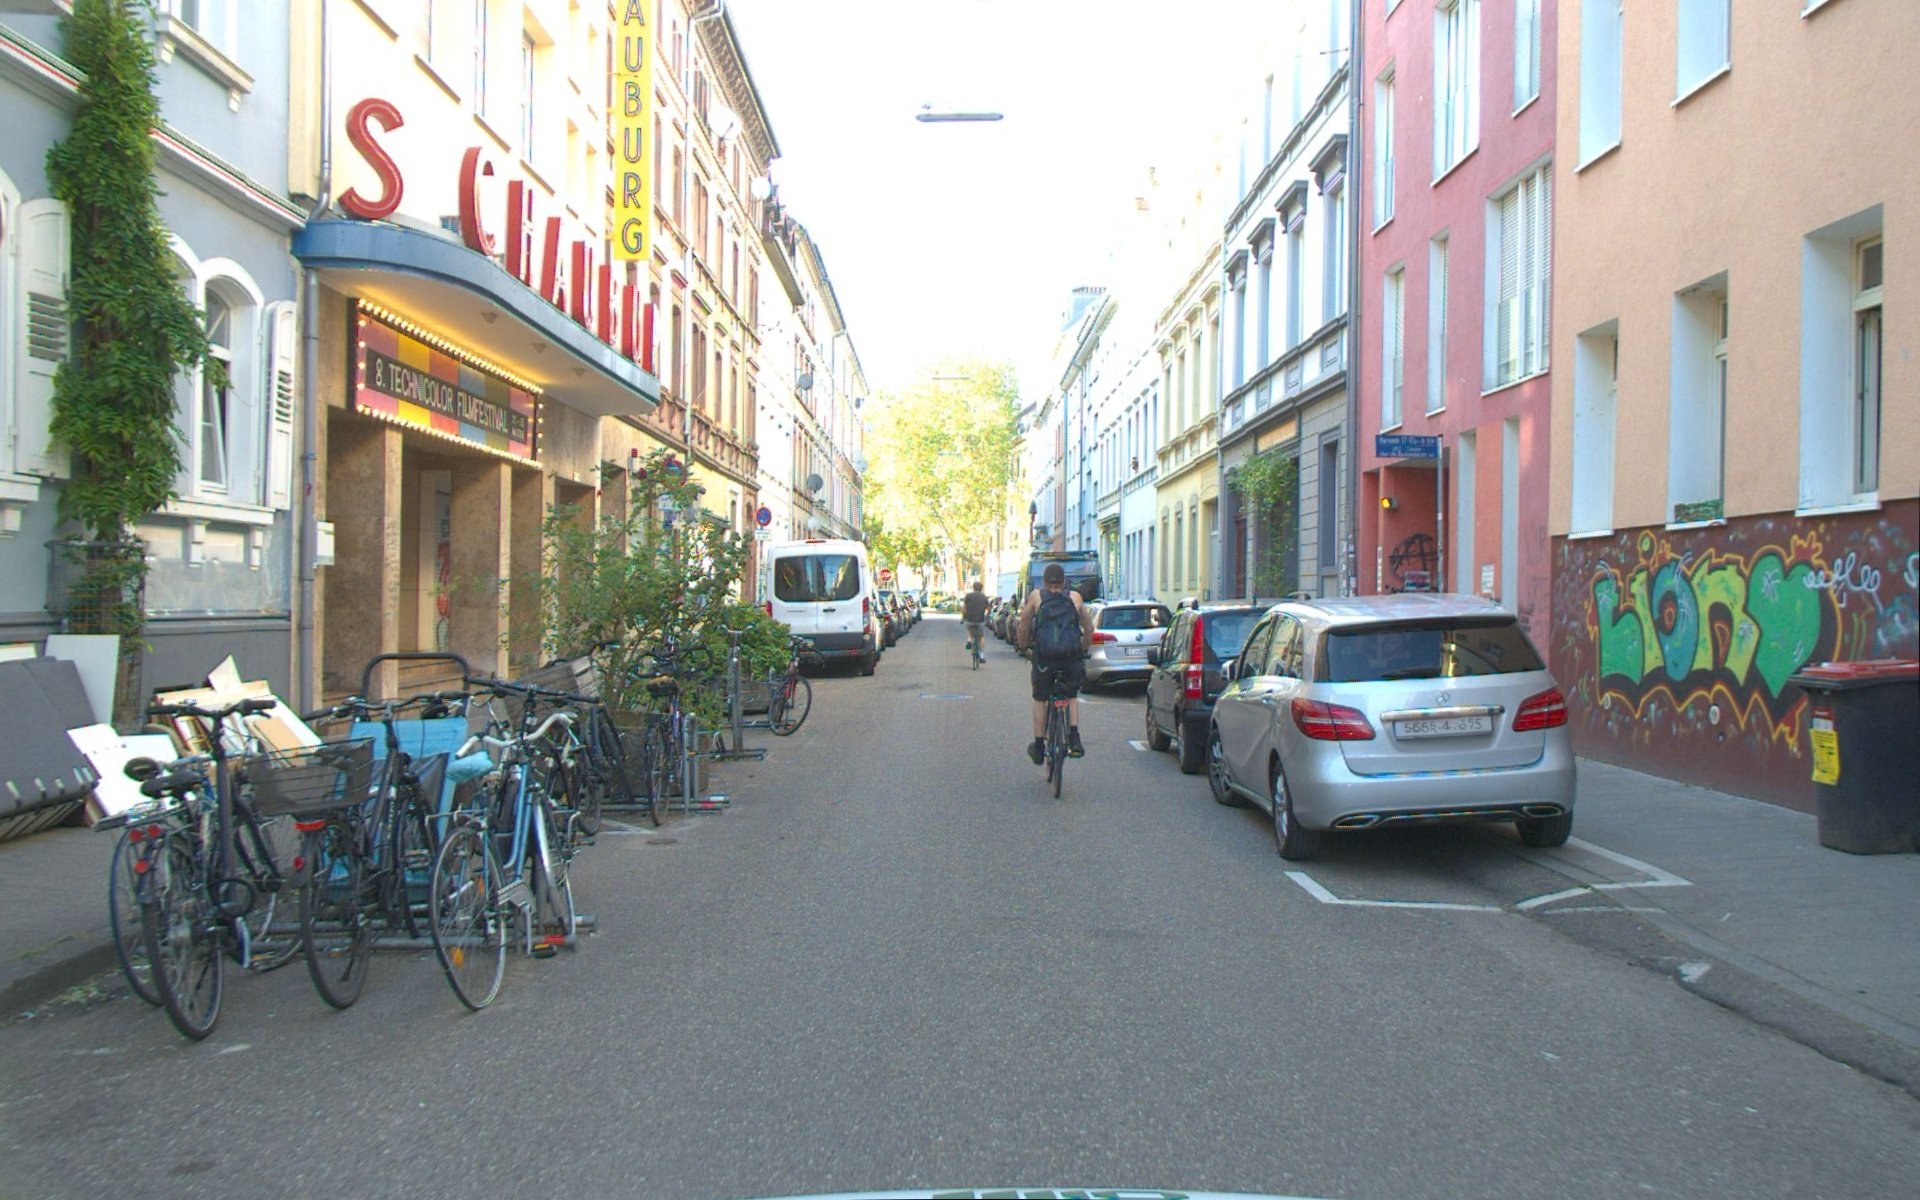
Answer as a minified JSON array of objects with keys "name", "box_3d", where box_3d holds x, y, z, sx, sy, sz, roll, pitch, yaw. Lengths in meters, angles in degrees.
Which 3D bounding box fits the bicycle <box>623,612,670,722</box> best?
[{"name":"bicycle","box_3d":[-3.639,0.757,19.280,0.332,1.194,1.489,2,0,-4]}]

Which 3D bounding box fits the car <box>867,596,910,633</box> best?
[{"name":"car","box_3d":[-2.838,0.570,66.545,1.559,1.465,3.654,0,0,0]}]

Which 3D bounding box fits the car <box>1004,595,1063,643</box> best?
[{"name":"car","box_3d":[2.394,0.607,54.746,1.710,1.511,4.242,0,0,-1]}]

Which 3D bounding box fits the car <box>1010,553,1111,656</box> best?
[{"name":"car","box_3d":[2.553,0.108,43.427,2.131,2.468,6.308,-1,0,-1]}]

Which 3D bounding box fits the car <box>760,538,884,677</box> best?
[{"name":"car","box_3d":[-2.657,0.123,33.205,2.124,2.495,5.919,-1,0,-2]}]

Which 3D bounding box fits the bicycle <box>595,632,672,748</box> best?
[{"name":"bicycle","box_3d":[-3.238,0.871,16.482,0.562,1.063,1.408,1,0,-5]}]

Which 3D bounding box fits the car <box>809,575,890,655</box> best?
[{"name":"car","box_3d":[-2.869,0.368,43.852,1.790,1.925,4.613,-2,0,0]}]

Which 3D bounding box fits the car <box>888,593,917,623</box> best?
[{"name":"car","box_3d":[-3.107,0.409,88.913,1.514,1.578,3.463,0,0,-4]}]

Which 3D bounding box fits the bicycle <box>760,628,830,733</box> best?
[{"name":"bicycle","box_3d":[-1.884,0.884,18.687,0.453,1.066,1.742,2,0,-16]}]

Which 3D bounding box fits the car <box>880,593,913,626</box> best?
[{"name":"car","box_3d":[-3.112,0.452,81.537,1.572,1.557,3.377,-1,0,-2]}]

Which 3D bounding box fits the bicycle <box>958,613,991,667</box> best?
[{"name":"bicycle","box_3d":[0.296,0.812,34.241,0.650,1.055,1.958,0,0,0]}]

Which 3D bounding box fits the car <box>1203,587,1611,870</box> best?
[{"name":"car","box_3d":[2.832,0.716,11.425,1.710,1.583,4.171,0,0,0]}]

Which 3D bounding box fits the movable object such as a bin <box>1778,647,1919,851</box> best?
[{"name":"movable object such as a bin","box_3d":[5.242,0.834,9.519,0.678,1.076,0.736,-2,0,0]}]

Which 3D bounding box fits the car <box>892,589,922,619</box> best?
[{"name":"car","box_3d":[-3.207,0.228,101.113,1.751,1.767,3.875,0,0,-1]}]

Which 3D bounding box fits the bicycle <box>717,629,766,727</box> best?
[{"name":"bicycle","box_3d":[-2.596,0.902,19.742,0.433,1.066,1.863,2,0,-4]}]

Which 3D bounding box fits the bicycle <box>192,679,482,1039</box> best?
[{"name":"bicycle","box_3d":[-2.416,0.935,6.641,0.434,1.125,1.931,1,0,-1]}]

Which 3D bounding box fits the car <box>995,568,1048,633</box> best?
[{"name":"car","box_3d":[2.585,0.008,70.027,2.159,2.595,6.037,0,0,2]}]

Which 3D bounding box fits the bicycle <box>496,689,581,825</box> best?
[{"name":"bicycle","box_3d":[-2.971,1.083,11.713,0.251,0.832,1.299,1,0,0]}]

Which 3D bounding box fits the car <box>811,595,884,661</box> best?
[{"name":"car","box_3d":[-2.629,0.632,39.260,1.612,1.472,3.838,0,0,-2]}]

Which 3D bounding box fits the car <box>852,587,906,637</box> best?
[{"name":"car","box_3d":[-2.980,0.419,61.565,1.764,1.728,4.000,-2,0,0]}]

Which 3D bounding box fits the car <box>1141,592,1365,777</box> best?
[{"name":"car","box_3d":[2.756,0.735,16.239,1.569,1.566,3.450,-2,0,0]}]

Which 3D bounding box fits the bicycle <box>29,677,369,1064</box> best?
[{"name":"bicycle","box_3d":[-2.755,0.905,6.196,0.434,1.125,1.873,1,0,-2]}]

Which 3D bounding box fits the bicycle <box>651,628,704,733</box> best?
[{"name":"bicycle","box_3d":[-3.075,0.862,18.069,0.409,1.066,1.317,2,0,-4]}]

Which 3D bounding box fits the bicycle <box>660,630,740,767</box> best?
[{"name":"bicycle","box_3d":[-2.360,0.864,15.149,0.535,1.113,1.880,2,0,-4]}]

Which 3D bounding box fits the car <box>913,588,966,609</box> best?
[{"name":"car","box_3d":[-1.766,-0.132,139.985,4.382,1.790,1.864,0,0,-5]}]

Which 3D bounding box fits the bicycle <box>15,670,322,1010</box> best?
[{"name":"bicycle","box_3d":[-3.149,0.893,6.748,0.434,1.125,1.697,1,0,-1]}]

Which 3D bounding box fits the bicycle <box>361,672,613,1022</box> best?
[{"name":"bicycle","box_3d":[-1.841,0.903,6.684,0.489,1.125,1.829,1,0,-1]}]

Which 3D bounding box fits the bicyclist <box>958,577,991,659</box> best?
[{"name":"bicyclist","box_3d":[0.295,0.367,34.302,0.656,1.687,0.877,0,0,-1]}]

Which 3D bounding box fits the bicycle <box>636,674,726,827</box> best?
[{"name":"bicycle","box_3d":[-1.924,1.014,11.526,0.382,0.932,1.393,0,0,0]}]

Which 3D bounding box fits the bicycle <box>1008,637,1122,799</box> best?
[{"name":"bicycle","box_3d":[0.807,0.899,13.249,0.725,1.120,2.042,2,0,-1]}]

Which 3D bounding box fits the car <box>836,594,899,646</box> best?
[{"name":"car","box_3d":[-2.804,0.564,50.546,1.824,1.465,4.643,0,1,-3]}]

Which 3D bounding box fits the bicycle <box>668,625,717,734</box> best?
[{"name":"bicycle","box_3d":[-3.171,0.917,19.705,0.391,1.194,1.668,2,0,-4]}]

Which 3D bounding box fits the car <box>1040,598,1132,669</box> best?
[{"name":"car","box_3d":[2.769,0.716,37.198,1.712,1.469,4.171,1,0,0]}]

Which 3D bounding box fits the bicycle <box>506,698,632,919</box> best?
[{"name":"bicycle","box_3d":[-1.933,1.001,8.280,0.315,0.932,1.290,0,0,0]}]

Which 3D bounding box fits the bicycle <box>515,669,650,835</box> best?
[{"name":"bicycle","box_3d":[-2.516,0.987,11.167,0.542,0.960,1.571,0,0,0]}]

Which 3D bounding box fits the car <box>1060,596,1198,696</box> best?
[{"name":"car","box_3d":[2.793,0.717,28.301,1.750,1.479,4.546,-2,0,-1]}]

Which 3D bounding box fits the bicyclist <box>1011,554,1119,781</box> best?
[{"name":"bicyclist","box_3d":[0.822,0.512,13.202,0.725,1.708,1.116,2,0,-1]}]

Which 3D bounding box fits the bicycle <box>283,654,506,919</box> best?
[{"name":"bicycle","box_3d":[-2.767,0.889,8.189,0.796,1.195,0.920,1,0,-3]}]
